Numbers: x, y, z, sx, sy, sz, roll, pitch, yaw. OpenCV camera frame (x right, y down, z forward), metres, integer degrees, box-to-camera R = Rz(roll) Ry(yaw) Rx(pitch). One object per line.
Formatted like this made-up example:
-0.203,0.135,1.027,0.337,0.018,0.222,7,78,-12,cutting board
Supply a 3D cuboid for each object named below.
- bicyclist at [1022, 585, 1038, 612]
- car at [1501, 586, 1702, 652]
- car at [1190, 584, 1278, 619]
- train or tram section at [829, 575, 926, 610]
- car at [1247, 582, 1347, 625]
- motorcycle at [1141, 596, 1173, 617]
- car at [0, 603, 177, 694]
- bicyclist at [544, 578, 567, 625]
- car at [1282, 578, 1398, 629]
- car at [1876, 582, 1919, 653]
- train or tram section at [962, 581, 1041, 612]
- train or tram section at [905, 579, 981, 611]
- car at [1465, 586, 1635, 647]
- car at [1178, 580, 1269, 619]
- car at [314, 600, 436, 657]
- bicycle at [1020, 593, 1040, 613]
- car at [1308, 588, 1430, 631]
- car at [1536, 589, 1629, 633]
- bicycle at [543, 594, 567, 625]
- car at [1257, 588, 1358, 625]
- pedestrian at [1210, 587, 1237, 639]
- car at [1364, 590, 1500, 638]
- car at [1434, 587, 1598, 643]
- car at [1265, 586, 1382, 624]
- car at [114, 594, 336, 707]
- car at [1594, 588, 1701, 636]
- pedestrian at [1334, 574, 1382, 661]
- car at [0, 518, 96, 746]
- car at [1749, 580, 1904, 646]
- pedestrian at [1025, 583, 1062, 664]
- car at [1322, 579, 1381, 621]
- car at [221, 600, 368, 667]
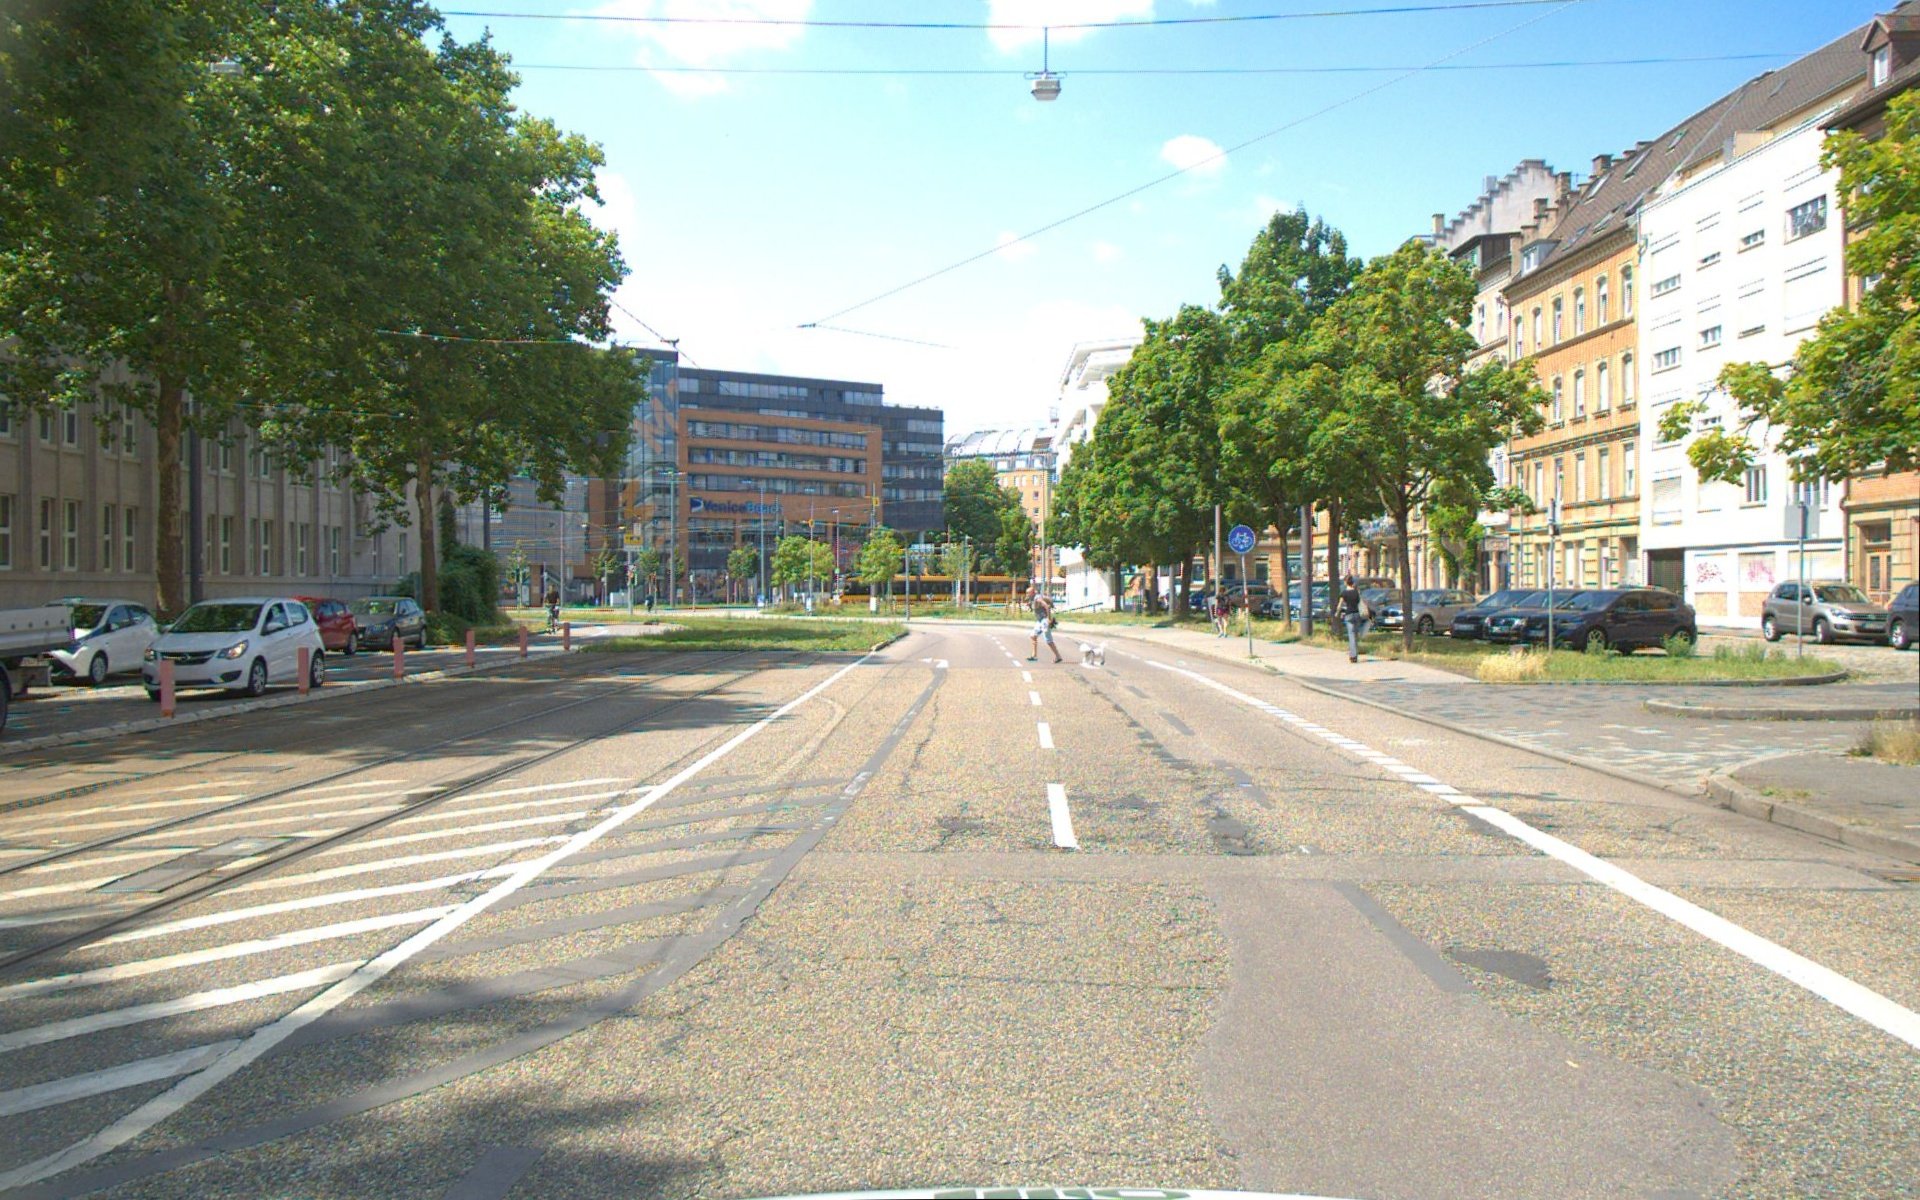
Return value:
4.881,-0.110,115.144,0.680,1.856,0.956,-2,1,25,bicyclist
14.239,0.417,36.716,3.932,1.378,1.948,1,0,-23,car
13.870,0.094,83.668,4.111,1.685,1.900,1,0,-27,car
-9.365,-0.819,189.707,3.164,3.662,13.442,1,0,37,train or tram section
14.476,0.144,71.035,4.094,1.771,1.833,1,0,-31,car
11.239,0.349,94.437,1.747,1.187,0.639,0,0,-2,motorcycle
-15.916,0.833,30.093,1.711,1.479,3.490,2,1,-2,car
-15.072,0.060,61.605,0.749,1.734,0.780,1,-1,-17,bicyclist
14.021,0.146,60.885,4.318,1.771,1.828,1,0,-37,car
23.001,0.412,37.822,1.794,1.644,4.497,1,0,3,car
5.309,-0.463,208.603,3.007,3.684,12.573,1,0,39,train or tram section
-1.962,-0.621,199.272,3.006,3.666,10.944,1,0,37,train or tram section
14.423,0.414,40.395,3.950,1.404,1.939,1,0,-33,car
13.827,-0.032,86.704,4.568,1.961,1.896,1,0,-31,car
-15.957,0.756,45.326,1.887,1.393,4.316,2,1,-2,car
4.877,0.209,115.124,0.680,1.264,1.838,-2,1,25,bicycle
14.102,0.343,56.943,4.222,1.404,1.828,1,0,-37,car
22.401,0.387,59.692,1.794,1.518,4.227,1,0,0,car
-15.075,0.360,61.576,0.778,1.129,2.266,1,0,-16,bicycle
14.316,0.274,68.032,4.038,1.430,1.829,1,0,-36,car
8.336,0.397,52.407,0.686,1.620,0.905,1,0,-1,pedestrian
14.464,0.431,50.625,4.222,1.404,1.828,1,0,-37,car
14.596,0.403,43.416,3.942,1.404,1.943,1,0,-28,car
14.237,0.219,64.741,4.638,1.404,1.830,1,0,-35,car
-11.234,0.712,25.559,1.724,1.505,3.787,-2,1,-1,car
22.659,0.391,54.694,1.794,1.518,4.227,1,0,0,car
8.049,0.355,33.499,0.686,1.734,1.044,1,0,-1,pedestrian
-11.276,0.382,15.887,2.209,2.415,6.980,-2,0,0,car
23.087,0.329,44.256,1.794,1.644,4.495,1,0,0,car
1.812,0.504,36.068,0.765,1.734,0.702,1,-1,2,pedestrian
22.076,0.011,93.437,2.067,2.217,5.394,1,0,0,car
-16.081,0.768,40.180,1.887,1.445,4.050,2,1,0,car
